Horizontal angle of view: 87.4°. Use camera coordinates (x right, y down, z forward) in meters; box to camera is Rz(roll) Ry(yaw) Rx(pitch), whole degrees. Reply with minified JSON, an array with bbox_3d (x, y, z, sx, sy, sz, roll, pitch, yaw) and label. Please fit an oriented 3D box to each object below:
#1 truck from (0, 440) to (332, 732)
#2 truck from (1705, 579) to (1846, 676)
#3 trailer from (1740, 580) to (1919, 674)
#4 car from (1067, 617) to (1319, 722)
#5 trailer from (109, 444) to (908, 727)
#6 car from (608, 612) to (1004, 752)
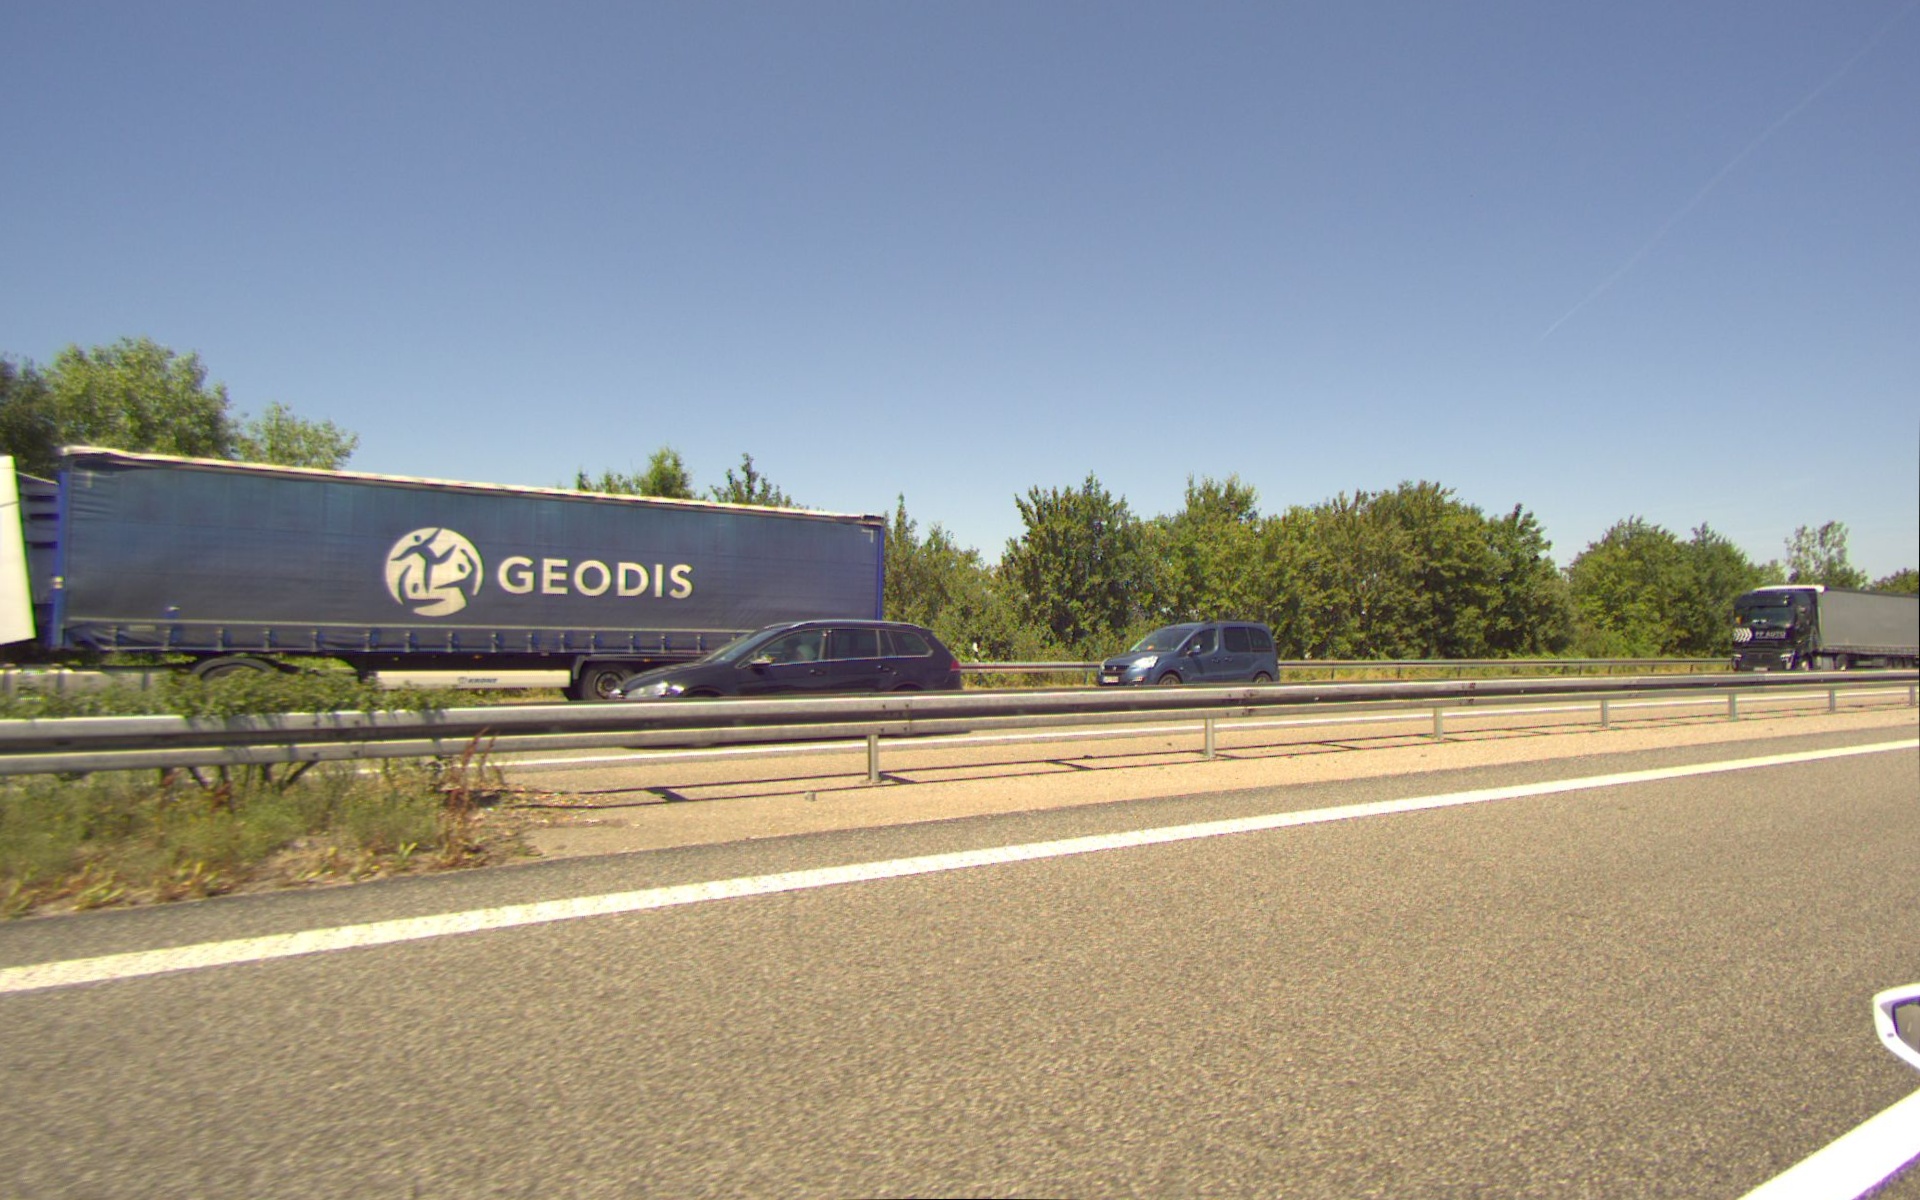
[{"bbox_3d":[-13.766,-0.115,16.036,6.122,4.183,2.903,2,-4,-31],"label":"truck"},{"bbox_3d":[37.672,1.248,46.385,6.121,4.184,3.182,1,-1,-30],"label":"truck"},{"bbox_3d":[43.924,1.347,50.109,13.385,4.241,3.332,1,-2,-31],"label":"trailer"},{"bbox_3d":[5.195,1.465,22.255,5.291,2.015,2.219,2,1,-29],"label":"car"},{"bbox_3d":[-7.610,0.027,19.695,13.383,4.241,2.906,2,-3,-31],"label":"trailer"},{"bbox_3d":[-1.881,1.018,12.753,4.670,1.503,1.744,2,-6,-29],"label":"car"}]
